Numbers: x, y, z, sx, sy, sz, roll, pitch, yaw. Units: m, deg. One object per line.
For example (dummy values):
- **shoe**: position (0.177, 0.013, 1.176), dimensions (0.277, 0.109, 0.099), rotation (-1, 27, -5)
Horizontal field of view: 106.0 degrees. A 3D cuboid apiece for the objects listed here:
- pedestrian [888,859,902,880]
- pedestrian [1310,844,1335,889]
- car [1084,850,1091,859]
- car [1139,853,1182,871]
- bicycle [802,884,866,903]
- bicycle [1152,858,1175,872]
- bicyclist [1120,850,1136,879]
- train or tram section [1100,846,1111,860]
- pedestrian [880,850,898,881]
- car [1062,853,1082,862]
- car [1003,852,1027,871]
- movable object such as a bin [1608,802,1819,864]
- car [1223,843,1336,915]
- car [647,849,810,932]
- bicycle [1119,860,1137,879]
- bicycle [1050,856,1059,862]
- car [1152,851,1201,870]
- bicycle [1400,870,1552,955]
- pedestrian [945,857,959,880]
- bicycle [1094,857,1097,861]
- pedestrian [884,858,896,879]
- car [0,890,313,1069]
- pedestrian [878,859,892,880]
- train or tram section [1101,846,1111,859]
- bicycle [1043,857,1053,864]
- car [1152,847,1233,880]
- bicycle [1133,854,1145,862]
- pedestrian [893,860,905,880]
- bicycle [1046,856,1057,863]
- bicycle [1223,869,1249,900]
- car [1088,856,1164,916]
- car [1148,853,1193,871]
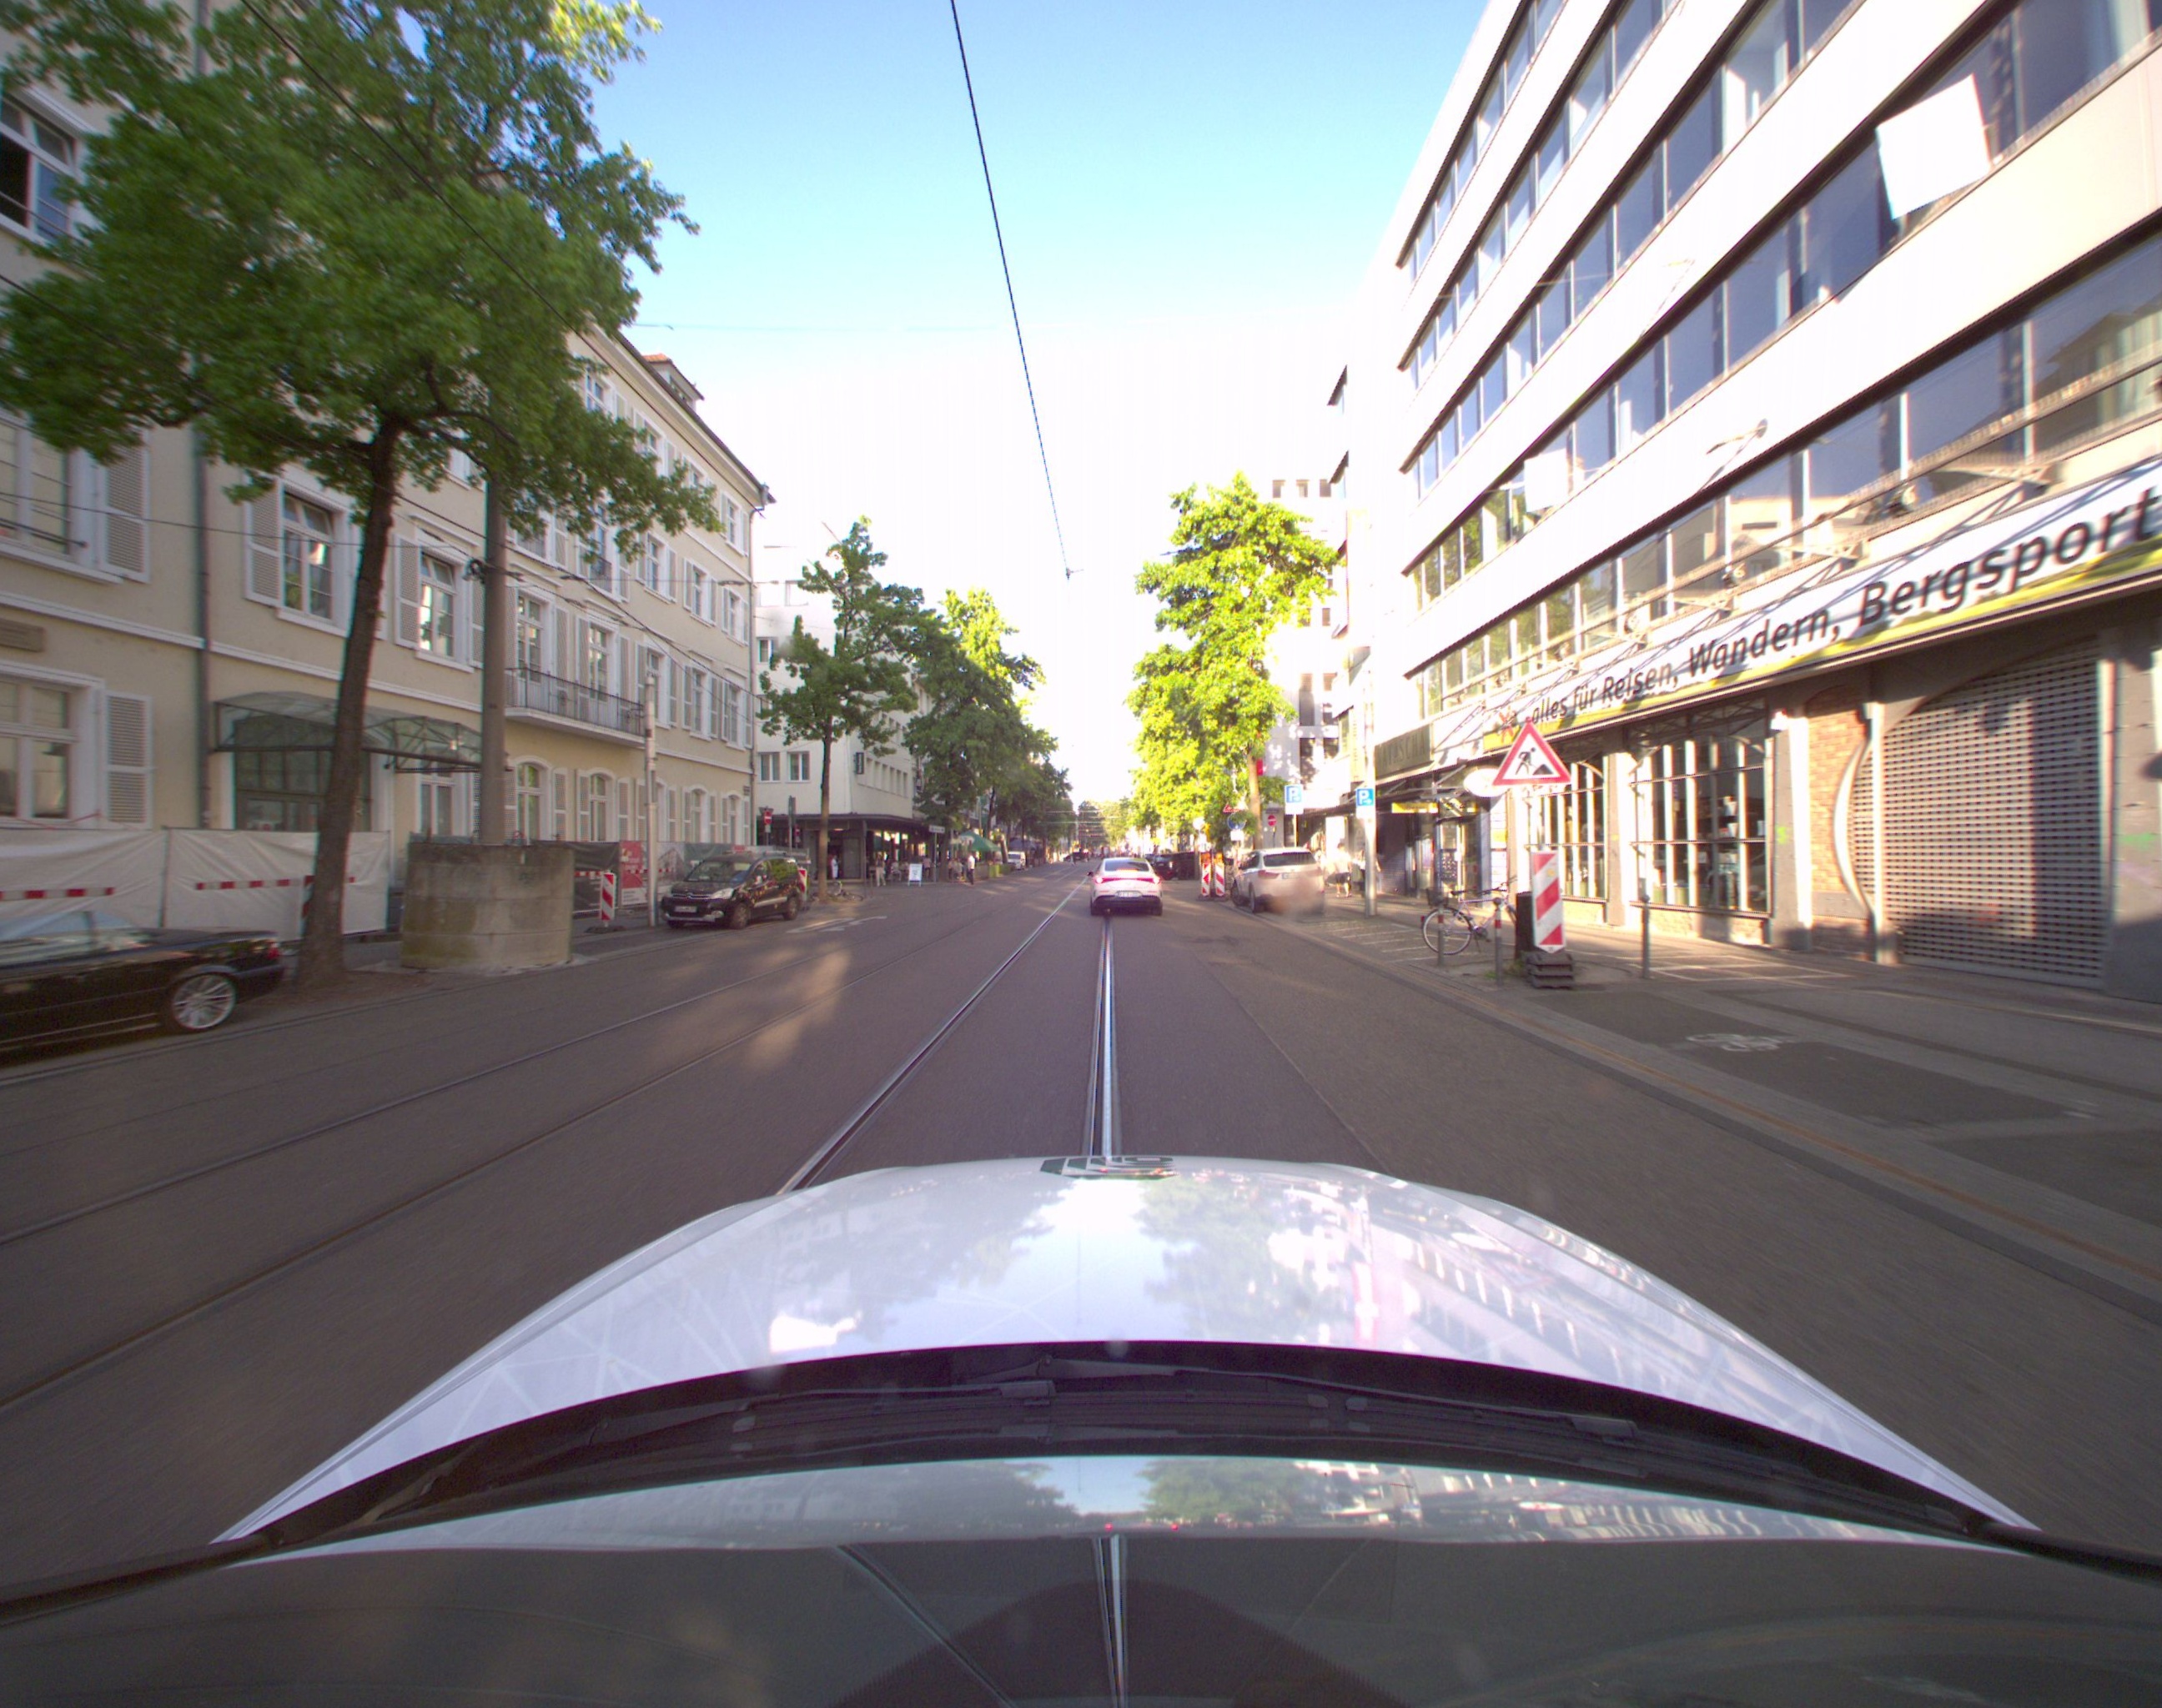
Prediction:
- **pedestrian**: position (-11.219, 0.931, 49.249), dimensions (0.624, 1.282, 0.728), rotation (1, 0, 2)
- **pedestrian**: position (10.455, 0.515, 35.309), dimensions (0.830, 1.897, 0.919), rotation (-2, 0, 4)
- **car**: position (1.975, 0.086, 257.873), dimensions (1.986, 2.897, 5.278), rotation (-1, 0, 2)
- **car**: position (8.586, 0.815, 87.585), dimensions (4.369, 1.652, 1.678), rotation (-3, 0, -30)
- **bicycle**: position (-8.740, 1.389, 28.876), dimensions (1.787, 0.609, 1.284), rotation (0, 0, 5)
- **bicycle**: position (7.203, 0.939, 71.204), dimensions (1.901, 1.119, 0.661), rotation (-3, -1, -27)
- **bicyclist**: position (2.661, 0.610, 46.255), dimensions (0.772, 1.613, 0.915), rotation (1, 0, 11)
- **train or tram section**: position (6.355, -0.300, 207.012), dimensions (2.684, 3.516, 12.551), rotation (-1, 0, 2)
- **pedestrian**: position (-11.128, 0.665, 47.280), dimensions (0.679, 1.815, 0.767), rotation (1, 0, 17)
- **car**: position (-1.826, 0.686, 165.026), dimensions (3.986, 1.750, 1.852), rotation (-1, 0, -10)
- **car**: position (-6.647, 0.734, 82.217), dimensions (1.788, 1.864, 4.557), rotation (2, 0, 3)
- **movable object such as a bin**: position (32.216, -1.000, 41.935), dimensions (8.113, 2.910, 2.840), rotation (-1, 0, 20)
- **car**: position (5.573, 0.645, 23.552), dimensions (2.016, 1.737, 4.907), rotation (-3, 0, 0)
- **car**: position (-8.583, 0.809, 20.329), dimensions (1.849, 1.832, 4.563), rotation (0, 0, 3)
- **bicycle**: position (2.675, 0.879, 46.350), dimensions (0.714, 0.995, 2.065), rotation (1, 0, 11)
- **bicycle**: position (-4.796, 0.913, 148.363), dimensions (1.492, 1.029, 0.343), rotation (0, 0, -9)
- **car**: position (8.926, 0.617, 75.945), dimensions (4.174, 1.571, 1.836), rotation (-3, 0, -31)
- **bicycle**: position (5.779, 0.842, 12.019), dimensions (1.802, 1.135, 0.843), rotation (-3, -1, 9)
- **pedestrian**: position (-7.981, 0.874, 50.484), dimensions (0.686, 1.386, 0.807), rotation (1, 0, 3)
- **bicycle**: position (4.161, 1.546, 235.658), dimensions (0.797, 1.142, 2.257), rotation (1, 0, 1)
- **pedestrian**: position (-11.579, 0.895, 49.418), dimensions (0.550, 1.235, 0.687), rotation (1, 0, 2)
- **car**: position (-9.316, 1.042, 6.639), dimensions (1.711, 1.245, 4.509), rotation (2, 0, 2)
- **pedestrian**: position (-11.875, 0.922, 49.341), dimensions (0.642, 1.269, 0.739), rotation (1, 0, 2)
- **train or tram section**: position (7.252, -0.313, 231.402), dimensions (2.684, 3.516, 11.148), rotation (-1, 0, 2)
- **bicycle**: position (-5.087, 1.003, 125.735), dimensions (1.586, 0.930, 0.378), rotation (0, 0, 8)
- **car**: position (6.970, 0.587, 50.734), dimensions (4.678, 1.763, 1.976), rotation (-3, 0, -28)
- **bicycle**: position (10.427, 0.672, 146.313), dimensions (1.908, 1.281, 0.608), rotation (-3, 0, -10)
- **pedestrian**: position (-11.023, 0.960, 49.367), dimensions (0.550, 1.235, 0.687), rotation (1, 0, 2)
- **bicycle**: position (-4.669, 0.928, 128.935), dimensions (1.784, 1.077, 0.377), rotation (0, 0, -3)
- **bicycle**: position (5.291, 1.025, 27.892), dimensions (0.491, 0.981, 1.930), rotation (-1, 0, 0)
- **car**: position (1.155, 0.785, 21.900), dimensions (1.850, 1.455, 4.177), rotation (0, 0, 2)
- **car**: position (9.165, 0.779, 83.380), dimensions (4.262, 1.587, 1.866), rotation (-3, 0, -30)
